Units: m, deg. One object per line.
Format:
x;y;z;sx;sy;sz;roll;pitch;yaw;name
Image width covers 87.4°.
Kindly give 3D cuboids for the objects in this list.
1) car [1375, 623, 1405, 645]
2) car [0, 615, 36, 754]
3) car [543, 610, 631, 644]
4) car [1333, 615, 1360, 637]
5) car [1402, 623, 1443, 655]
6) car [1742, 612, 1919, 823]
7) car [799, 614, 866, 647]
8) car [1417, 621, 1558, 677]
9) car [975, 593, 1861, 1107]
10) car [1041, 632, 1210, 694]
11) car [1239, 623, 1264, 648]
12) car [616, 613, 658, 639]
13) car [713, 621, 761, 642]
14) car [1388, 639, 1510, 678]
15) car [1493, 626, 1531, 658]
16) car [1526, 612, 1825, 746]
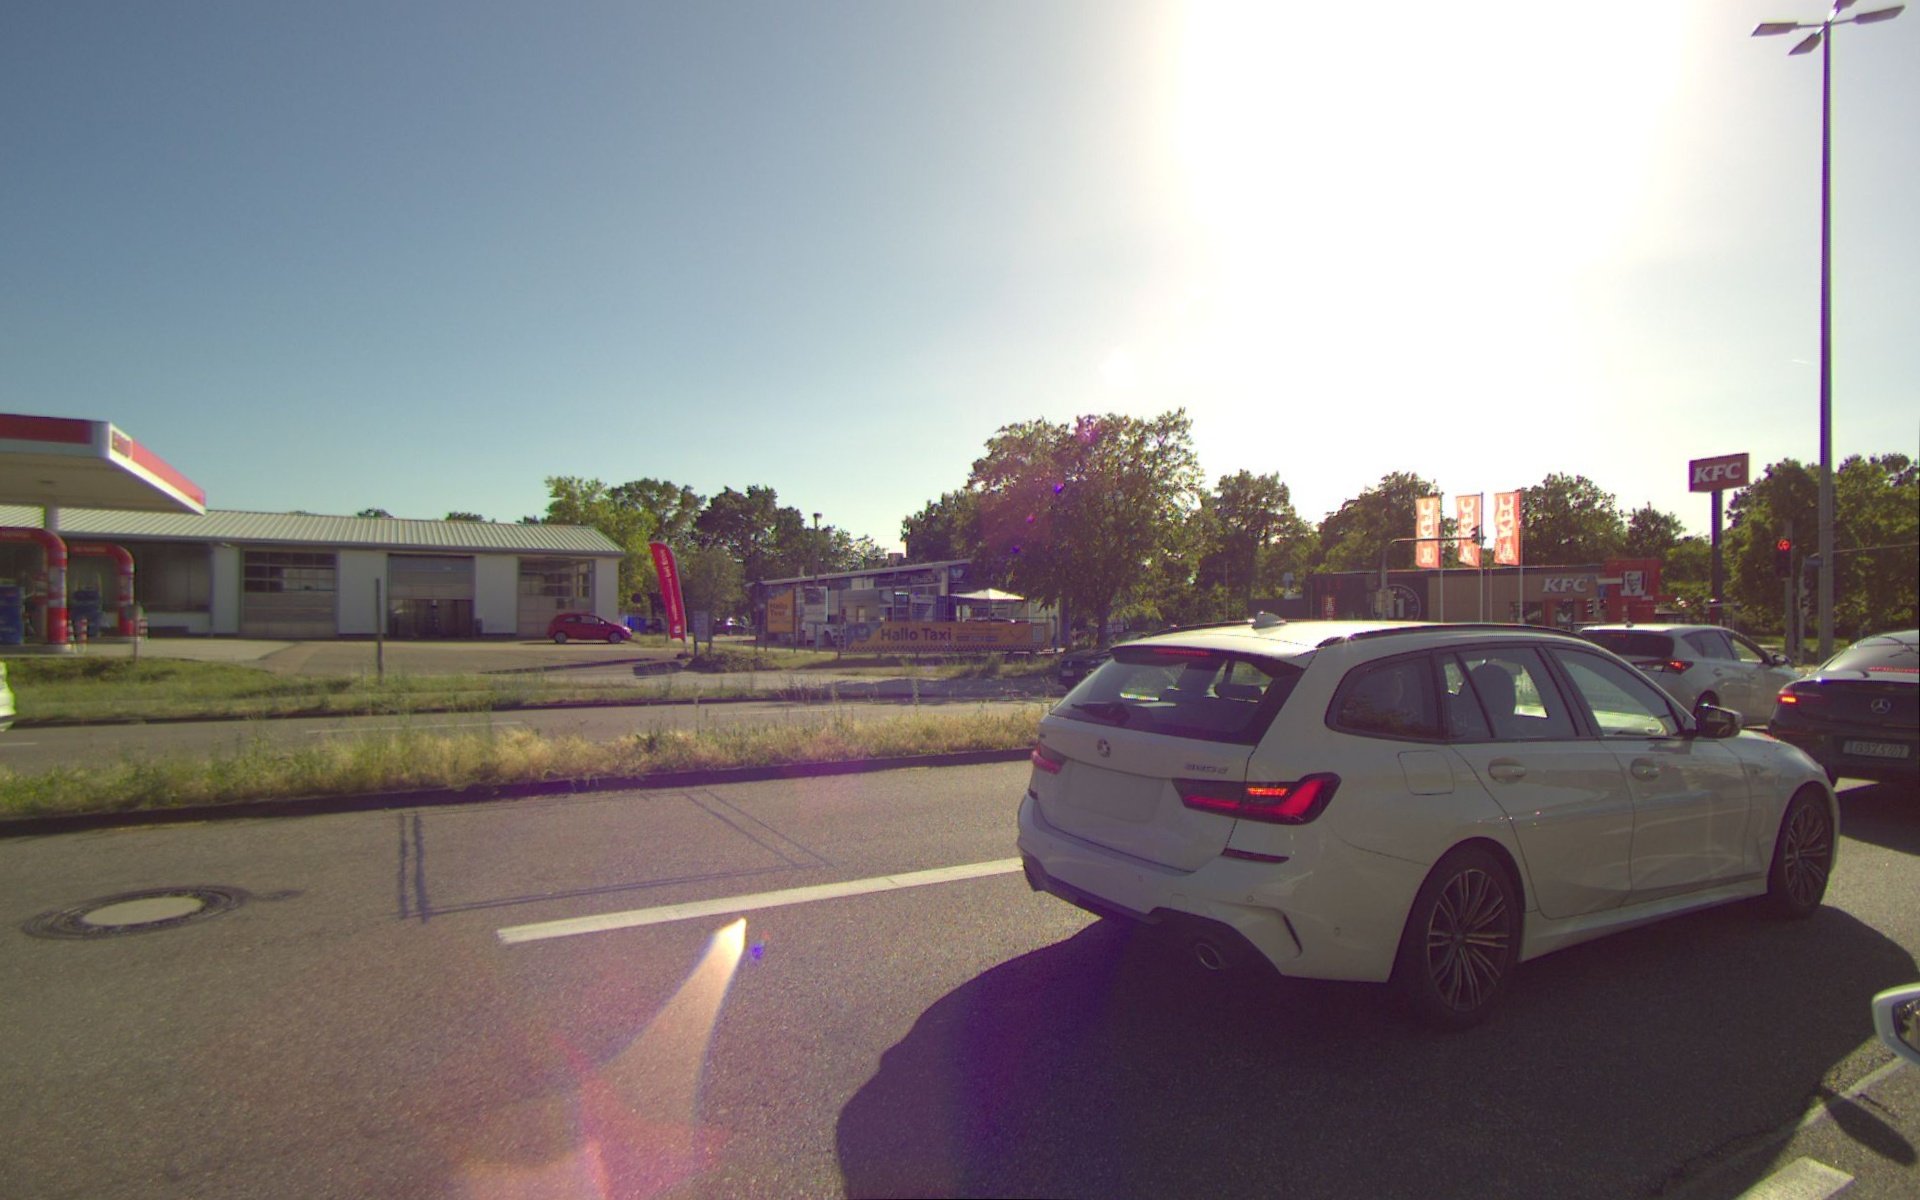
31.309;2.447;73.222;1.629;1.491;3.919;2;0;18;car
-12.850;0.901;10.192;4.829;1.509;1.749;2;-5;-34;car
-18.341;1.336;49.409;3.946;1.537;1.772;2;0;-25;car
28.297;1.895;73.657;1.629;1.491;3.919;2;0;18;car
28.350;2.344;61.522;1.964;1.788;4.349;2;0;29;car
8.780;0.930;8.640;4.425;1.510;1.787;2;0;-31;car
-6.767;1.607;53.130;1.978;1.584;3.964;2;0;-32;car
14.619;1.360;27.776;4.263;1.428;1.717;2;-4;-35;car
2.389;0.797;4.877;4.353;1.510;1.776;2;0;-31;car
4.090;1.535;24.730;3.933;1.428;1.750;2;-4;-31;car
21.818;2.623;75.155;1.629;1.695;3.945;2;0;18;car
-19.218;1.549;59.619;1.634;1.383;3.744;2;0;-29;car
-19.426;2.722;87.647;3.929;1.634;1.996;2;0;-11;car
20.246;2.411;41.756;1.742;1.510;4.395;1;-3;-28;car
33.096;2.474;60.204;1.880;1.776;4.349;2;0;29;car
9.583;0.976;13.390;4.150;1.510;1.750;2;0;-31;car
